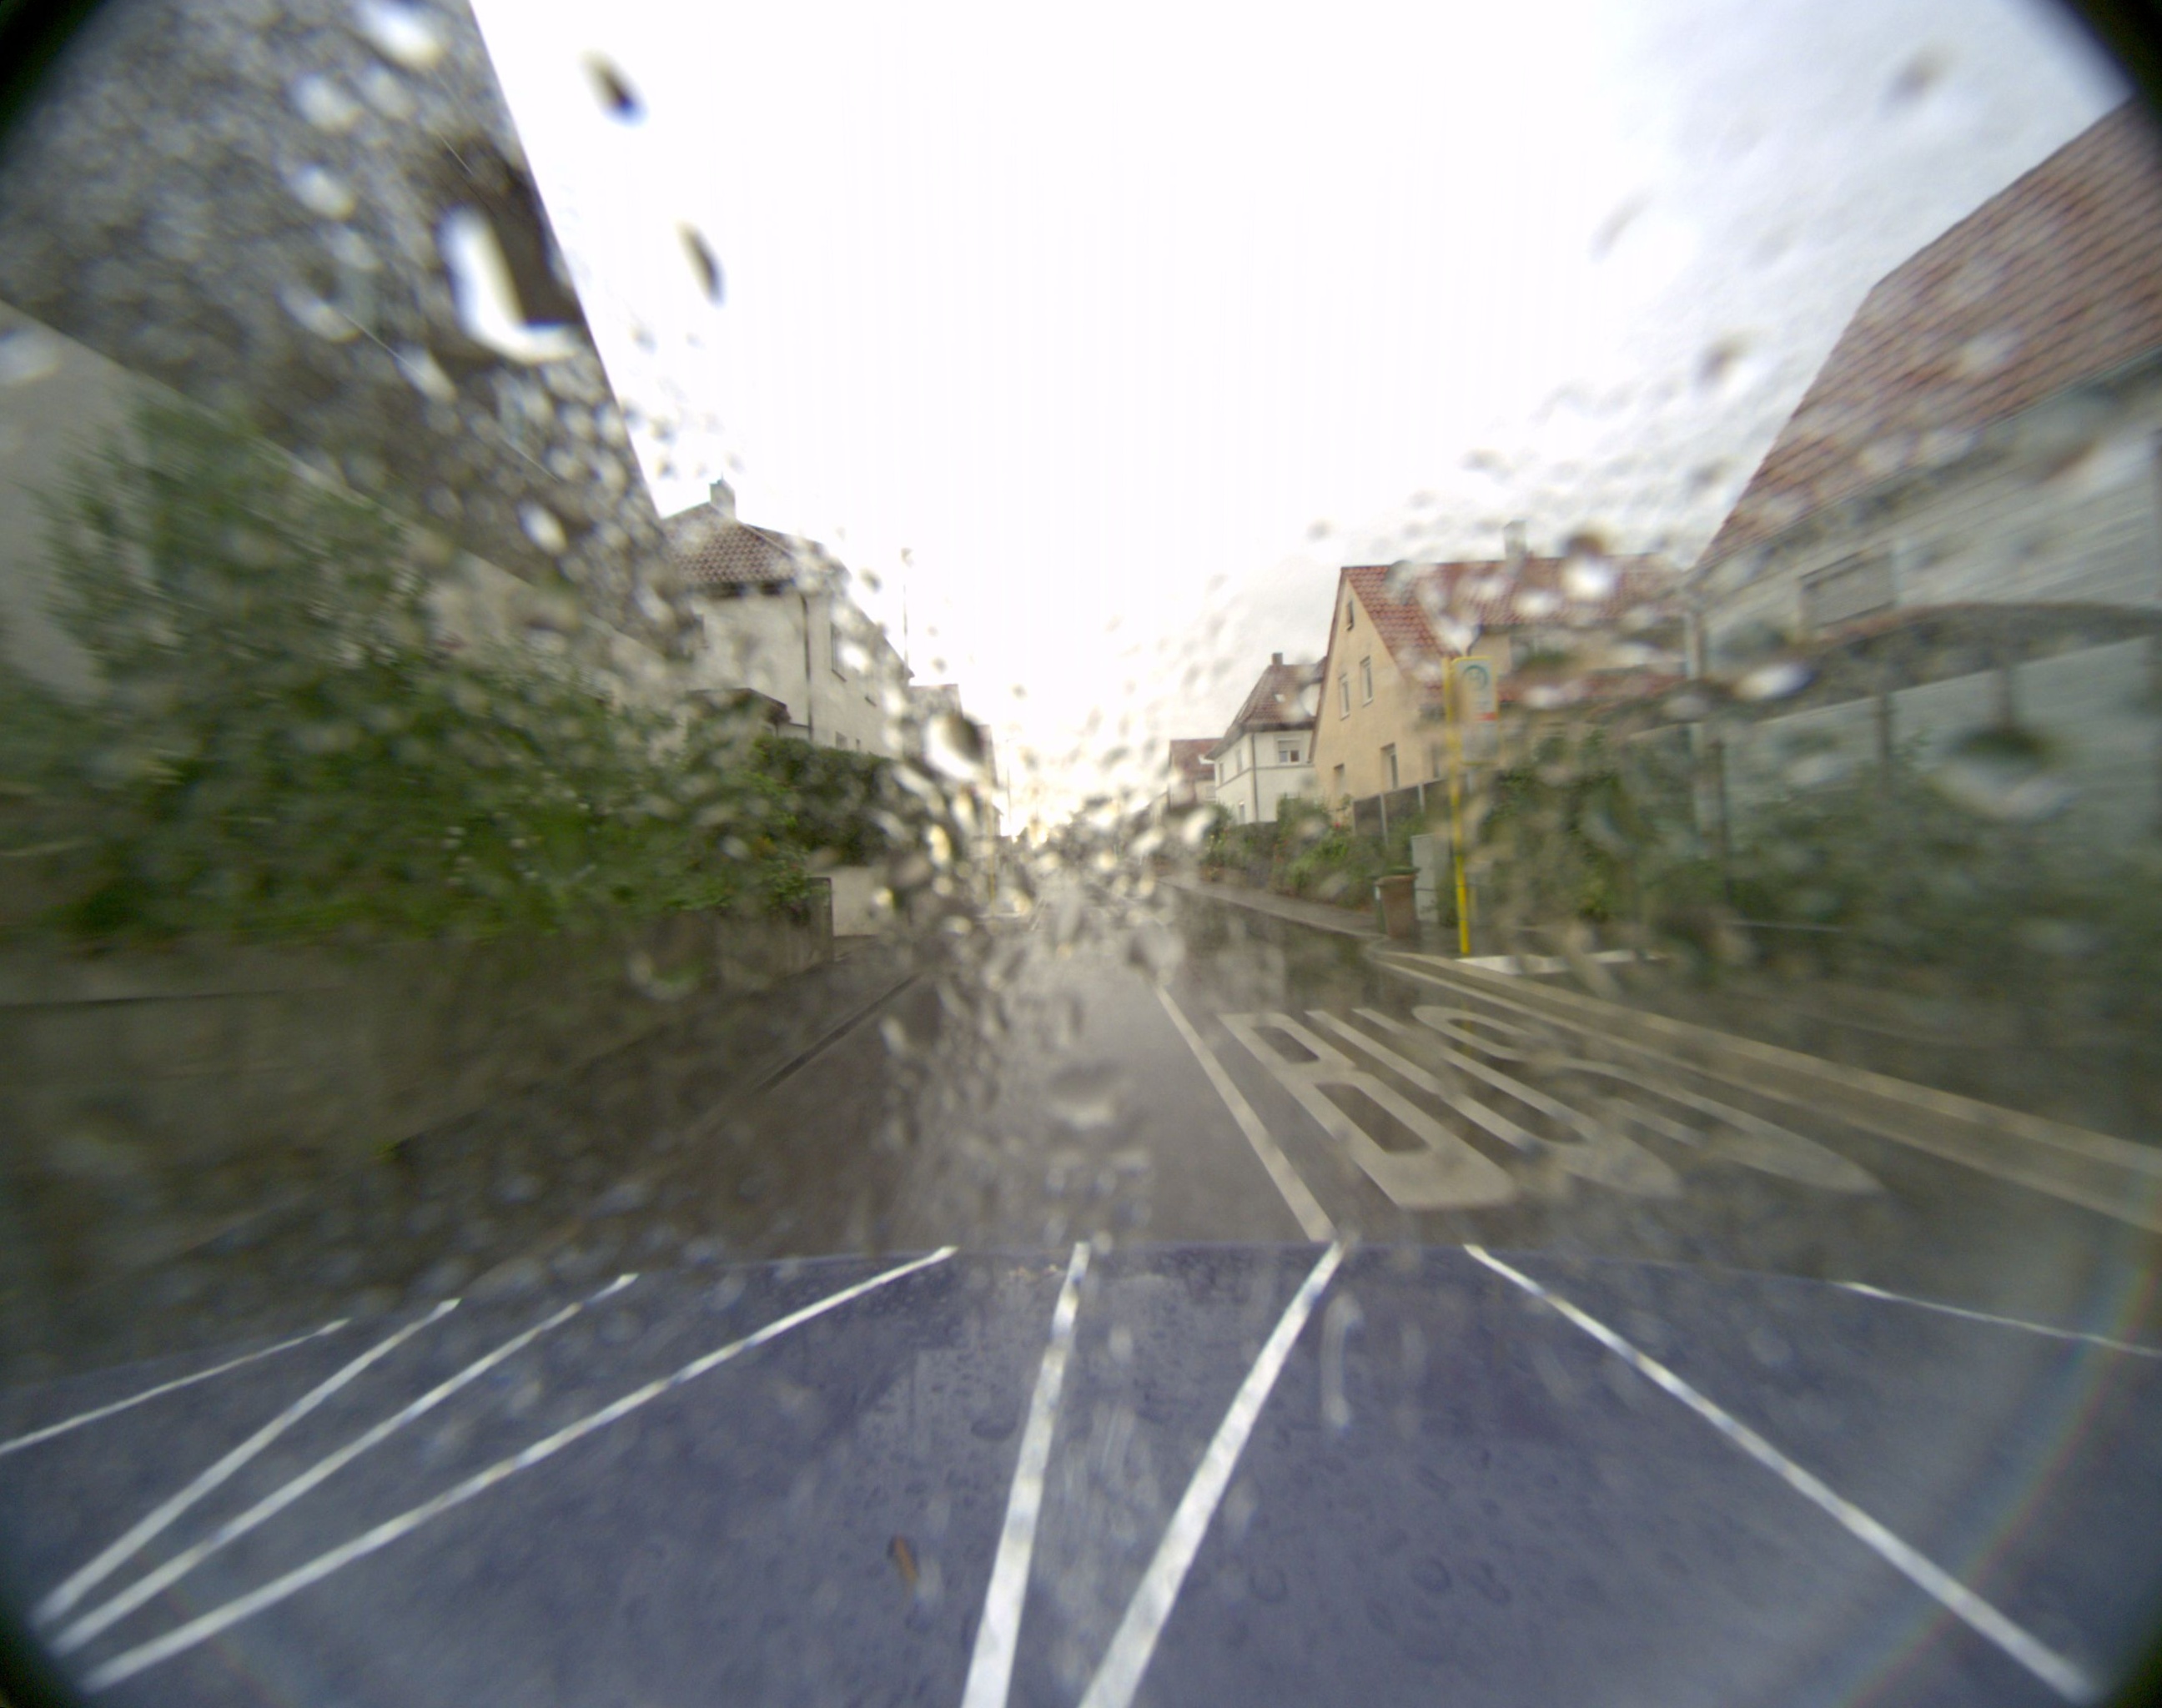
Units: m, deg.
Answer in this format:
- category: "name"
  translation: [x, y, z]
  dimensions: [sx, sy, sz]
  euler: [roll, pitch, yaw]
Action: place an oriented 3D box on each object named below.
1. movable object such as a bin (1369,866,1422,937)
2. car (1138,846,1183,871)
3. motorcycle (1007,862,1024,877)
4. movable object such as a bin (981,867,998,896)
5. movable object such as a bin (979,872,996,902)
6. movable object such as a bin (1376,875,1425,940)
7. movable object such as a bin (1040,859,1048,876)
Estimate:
- category: "movable object such as a bin"
  translation: [5.083, 0.757, 12.320]
  dimensions: [0.554, 1.076, 0.527]
  euler: [-6, 1, 2]
- category: "car"
  translation: [7.903, 0.428, 75.977]
  dimensions: [3.999, 1.964, 1.873]
  euler: [8, 0, -4]
- category: "motorcycle"
  translation: [-4.416, 1.034, 50.856]
  dimensions: [0.557, 1.007, 1.147]
  euler: [-2, 2, -39]
- category: "movable object such as a bin"
  translation: [-3.475, 1.051, 28.938]
  dimensions: [0.569, 1.070, 0.537]
  euler: [-2, 1, -2]
- category: "movable object such as a bin"
  translation: [-3.451, 1.215, 28.068]
  dimensions: [0.569, 1.070, 0.523]
  euler: [-2, 1, -2]
- category: "movable object such as a bin"
  translation: [4.894, 0.816, 11.672]
  dimensions: [0.469, 0.933, 0.454]
  euler: [-6, -1, 2]
- category: "movable object such as a bin"
  translation: [-2.768, 1.000, 56.634]
  dimensions: [0.569, 1.179, 0.537]
  euler: [-1, 1, -2]
